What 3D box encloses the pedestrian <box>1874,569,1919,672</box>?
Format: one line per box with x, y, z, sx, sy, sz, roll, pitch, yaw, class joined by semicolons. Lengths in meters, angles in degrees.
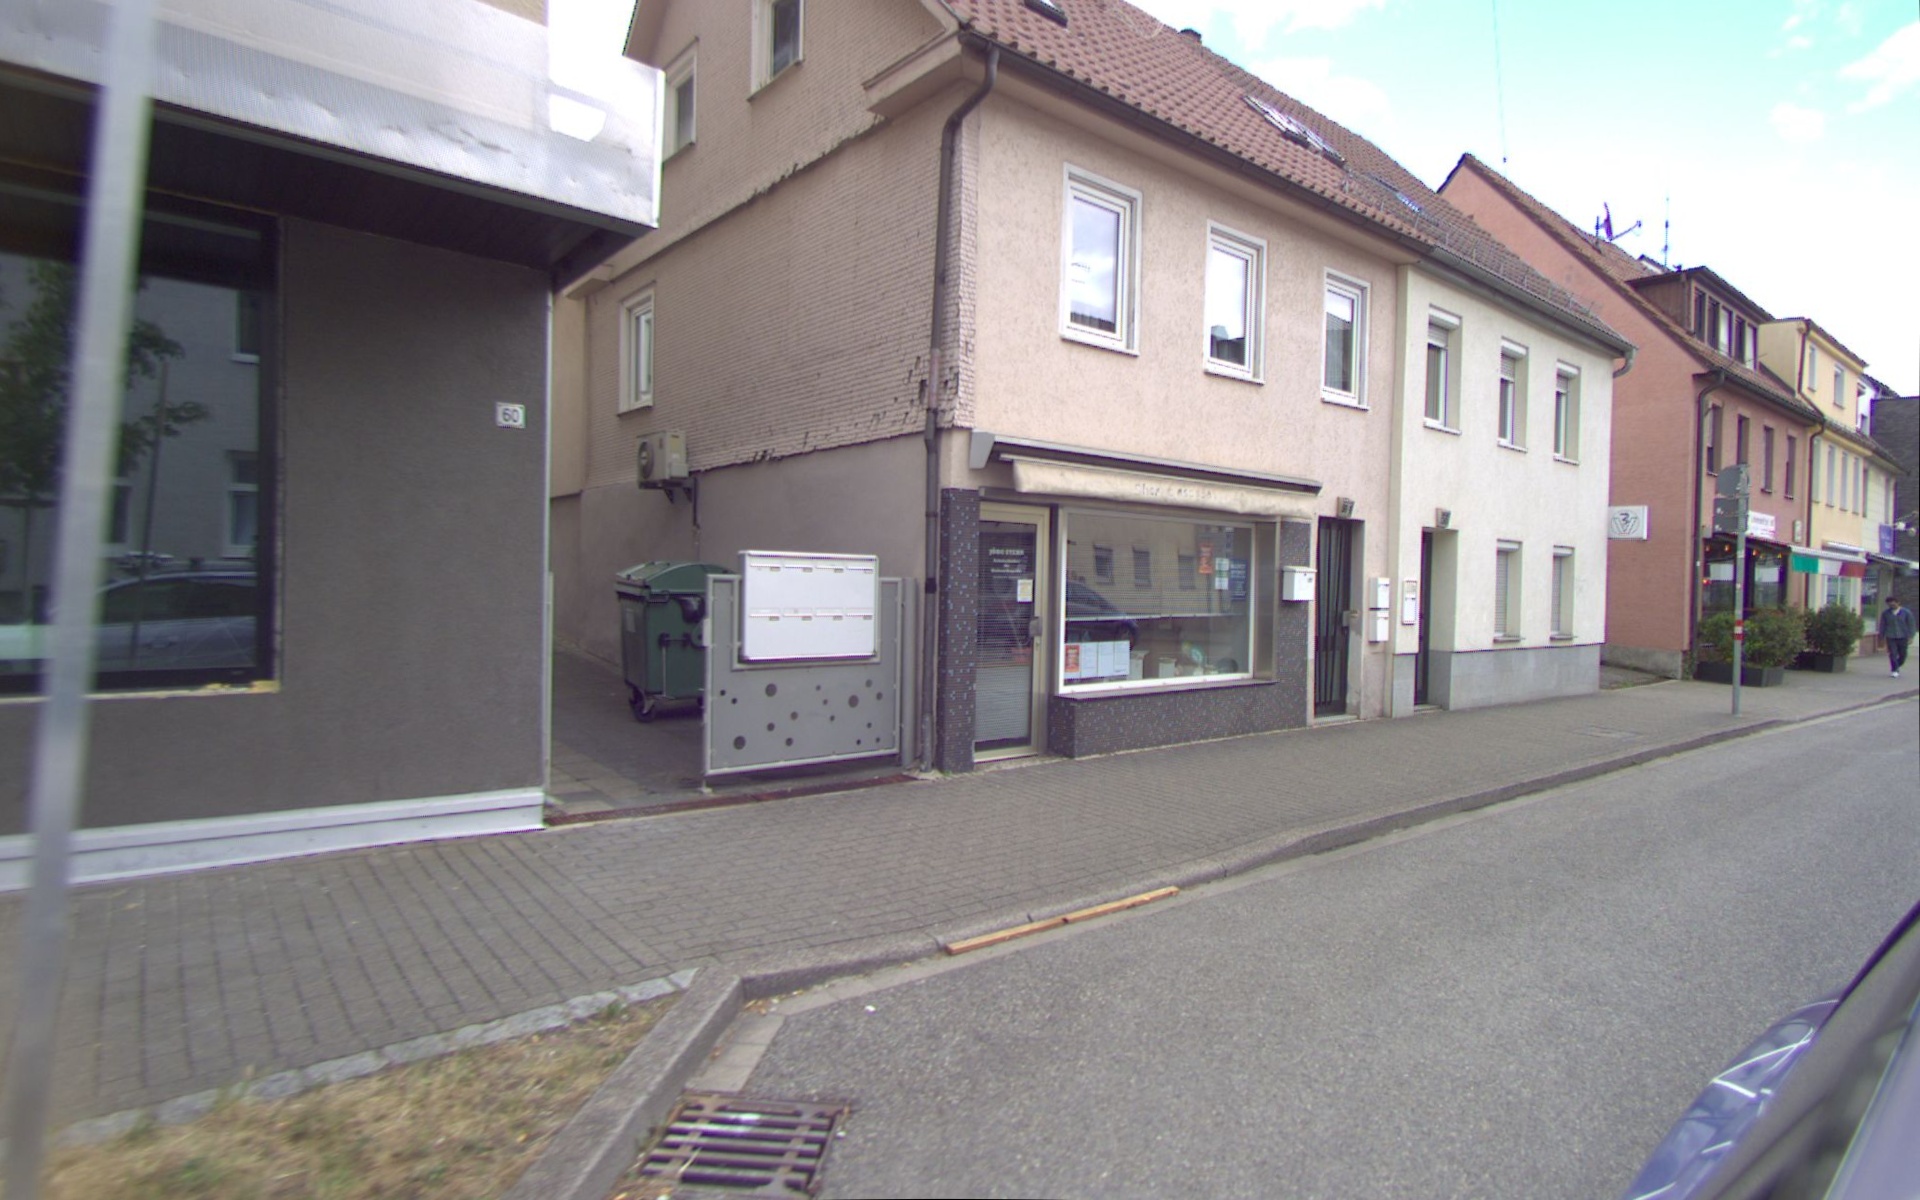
20.349;0.426;21.705;0.993;2.099;0.826;0;4;-39;pedestrian
